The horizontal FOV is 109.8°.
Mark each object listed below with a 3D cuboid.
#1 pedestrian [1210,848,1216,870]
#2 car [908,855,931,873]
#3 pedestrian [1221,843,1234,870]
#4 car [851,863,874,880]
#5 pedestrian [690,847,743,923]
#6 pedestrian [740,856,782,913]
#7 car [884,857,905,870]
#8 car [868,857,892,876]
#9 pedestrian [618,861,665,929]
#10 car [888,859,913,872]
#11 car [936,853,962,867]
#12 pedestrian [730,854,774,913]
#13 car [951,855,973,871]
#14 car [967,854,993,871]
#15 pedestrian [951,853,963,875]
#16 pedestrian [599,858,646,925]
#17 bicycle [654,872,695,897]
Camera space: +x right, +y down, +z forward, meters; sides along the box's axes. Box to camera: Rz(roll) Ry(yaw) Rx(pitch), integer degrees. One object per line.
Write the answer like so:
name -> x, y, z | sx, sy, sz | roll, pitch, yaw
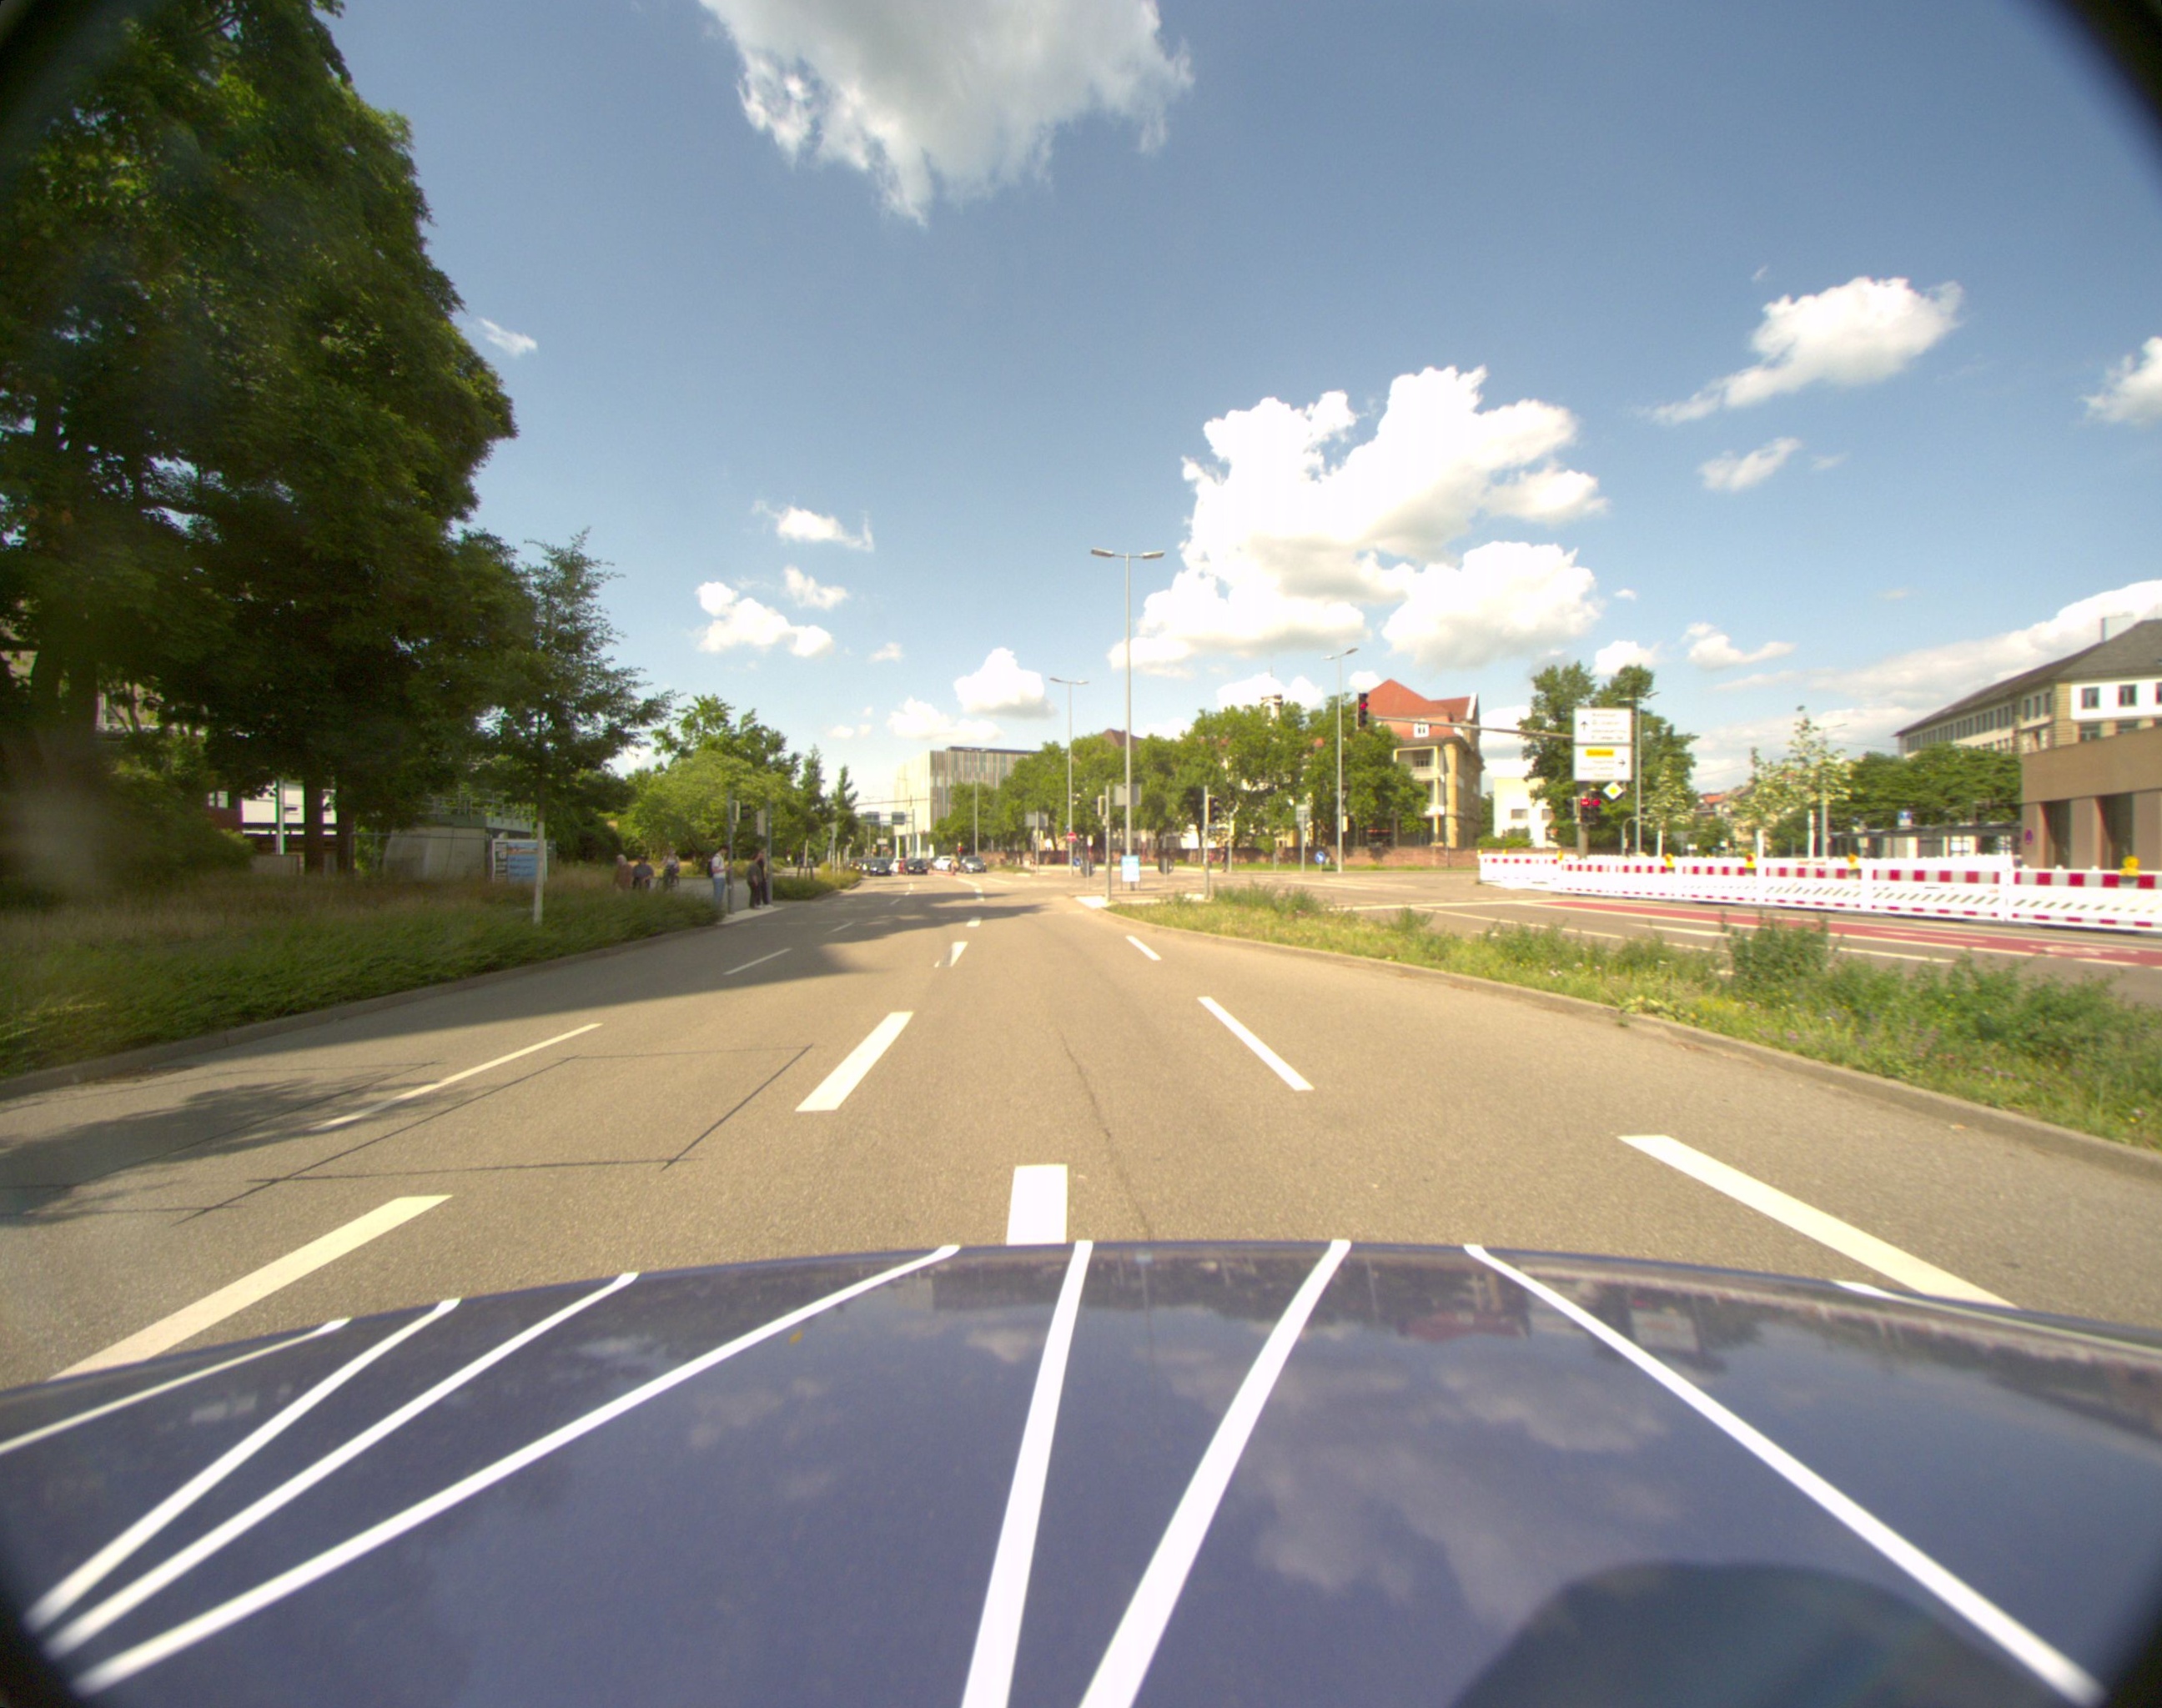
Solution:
pedestrian -> 10.342, 0.408, 59.486 | 0.368, 1.722, 0.451 | -2, 1, 23
car -> -13.674, 0.804, 64.206 | 1.827, 1.454, 3.995 | -1, 0, -13
pedestrian -> 11.157, 0.185, 57.880 | 0.582, 1.982, 0.621 | -3, 1, -27
car -> -19.746, 1.544, 68.818 | 1.827, 1.454, 3.995 | -1, 0, -13
pedestrian -> -9.870, 0.826, 20.597 | 0.965, 2.002, 0.768 | -2, 1, -2
pedestrian -> -10.086, 0.939, 23.958 | 0.928, 1.725, 0.768 | -2, 1, -2
car -> -18.407, 0.906, 75.130 | 1.911, 1.128, 4.096 | -1, 2, -13
car -> -16.508, 0.973, 62.456 | 1.828, 1.454, 3.995 | -1, 0, -14
pedestrian -> -11.512, 1.053, 19.915 | 0.768, 1.725, 0.718 | -2, 1, -8
car -> -16.338, 1.034, 68.785 | 1.600, 1.127, 3.622 | -1, 0, -23
car -> -13.696, 0.613, 78.806 | 1.781, 1.346, 3.992 | -2, 1, -23
pedestrian -> -10.036, 0.874, 23.181 | 0.928, 1.725, 0.768 | -2, 1, -2
car -> -11.264, 0.821, 71.983 | 1.734, 1.327, 3.784 | -2, 1, -13
car -> -8.690, 0.717, 65.205 | 2.000, 1.368, 4.265 | -2, 1, -10
pedestrian -> -9.805, 0.755, 60.115 | 0.739, 1.704, 0.874 | -3, 1, -22
pedestrian -> -12.223, 0.986, 20.277 | 0.768, 1.725, 0.718 | -2, 1, -8
bicycle -> -15.375, 1.138, 28.762 | 0.648, 0.876, 1.821 | -1, 1, -4
